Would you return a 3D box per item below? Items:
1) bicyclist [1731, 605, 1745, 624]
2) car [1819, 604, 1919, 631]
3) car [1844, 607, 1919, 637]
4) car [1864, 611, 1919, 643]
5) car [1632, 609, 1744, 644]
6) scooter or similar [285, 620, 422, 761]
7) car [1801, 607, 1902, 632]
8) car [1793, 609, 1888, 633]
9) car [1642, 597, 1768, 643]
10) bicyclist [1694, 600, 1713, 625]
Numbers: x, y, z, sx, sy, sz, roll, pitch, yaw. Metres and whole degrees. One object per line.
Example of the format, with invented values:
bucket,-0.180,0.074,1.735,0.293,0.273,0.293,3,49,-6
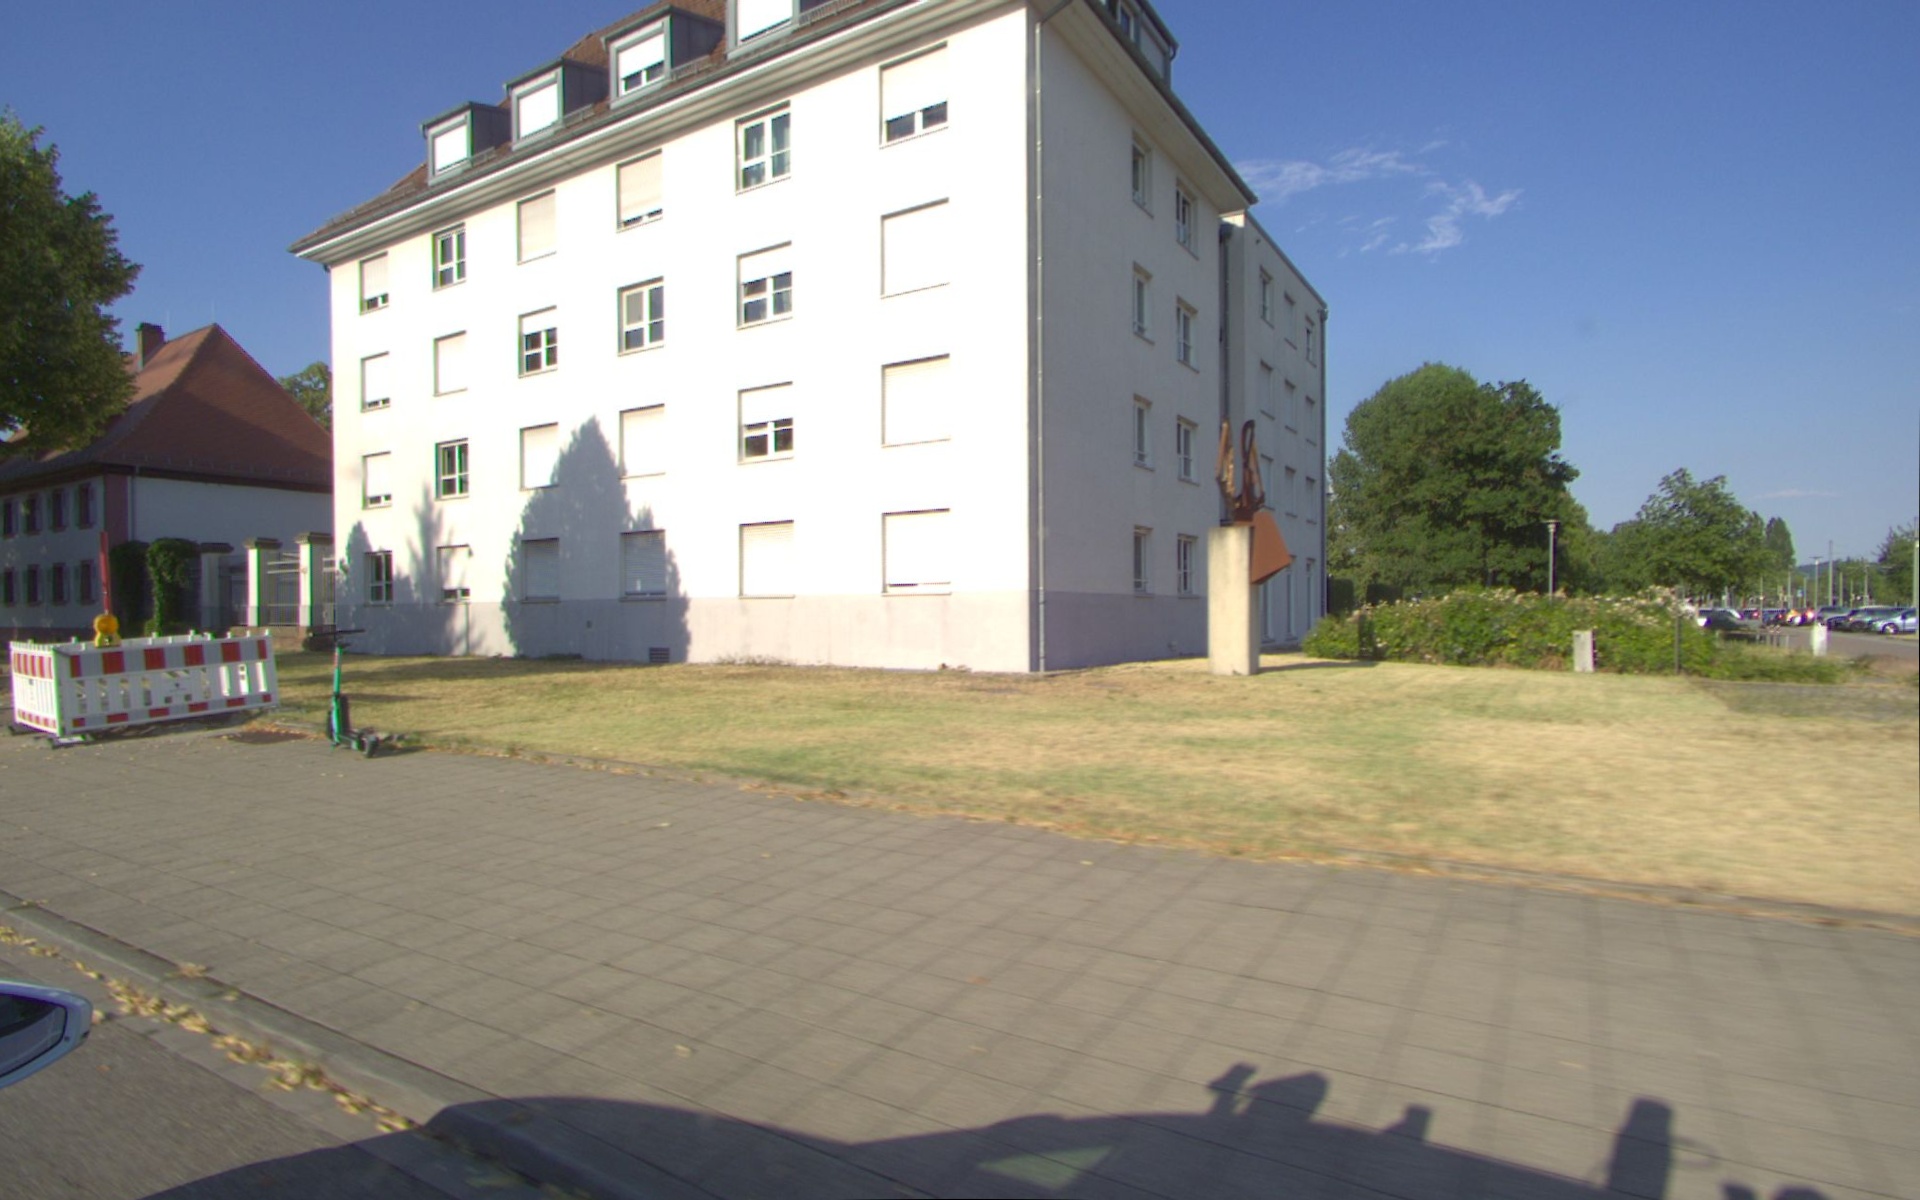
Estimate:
bicyclist,64.237,1.185,82.711,0.738,1.545,0.890,0,0,29
car,58.954,1.126,64.660,4.987,1.725,2.257,-1,-1,33
car,55.028,1.271,58.324,4.987,1.725,2.257,-1,-1,33
car,52.450,1.456,54.102,4.987,1.725,2.257,-1,-1,33
car,32.927,1.170,45.428,3.941,1.550,1.990,0,0,31
scooter or similar,-6.128,0.870,10.103,1.442,1.310,0.557,0,2,33
car,63.017,1.394,70.909,4.987,1.725,2.257,-1,-1,33
car,65.261,1.541,74.348,4.987,1.725,2.257,-1,-1,33
car,30.404,0.796,41.014,3.941,1.817,1.884,0,0,31
bicyclist,49.101,0.807,66.154,0.920,1.613,0.821,0,0,30
